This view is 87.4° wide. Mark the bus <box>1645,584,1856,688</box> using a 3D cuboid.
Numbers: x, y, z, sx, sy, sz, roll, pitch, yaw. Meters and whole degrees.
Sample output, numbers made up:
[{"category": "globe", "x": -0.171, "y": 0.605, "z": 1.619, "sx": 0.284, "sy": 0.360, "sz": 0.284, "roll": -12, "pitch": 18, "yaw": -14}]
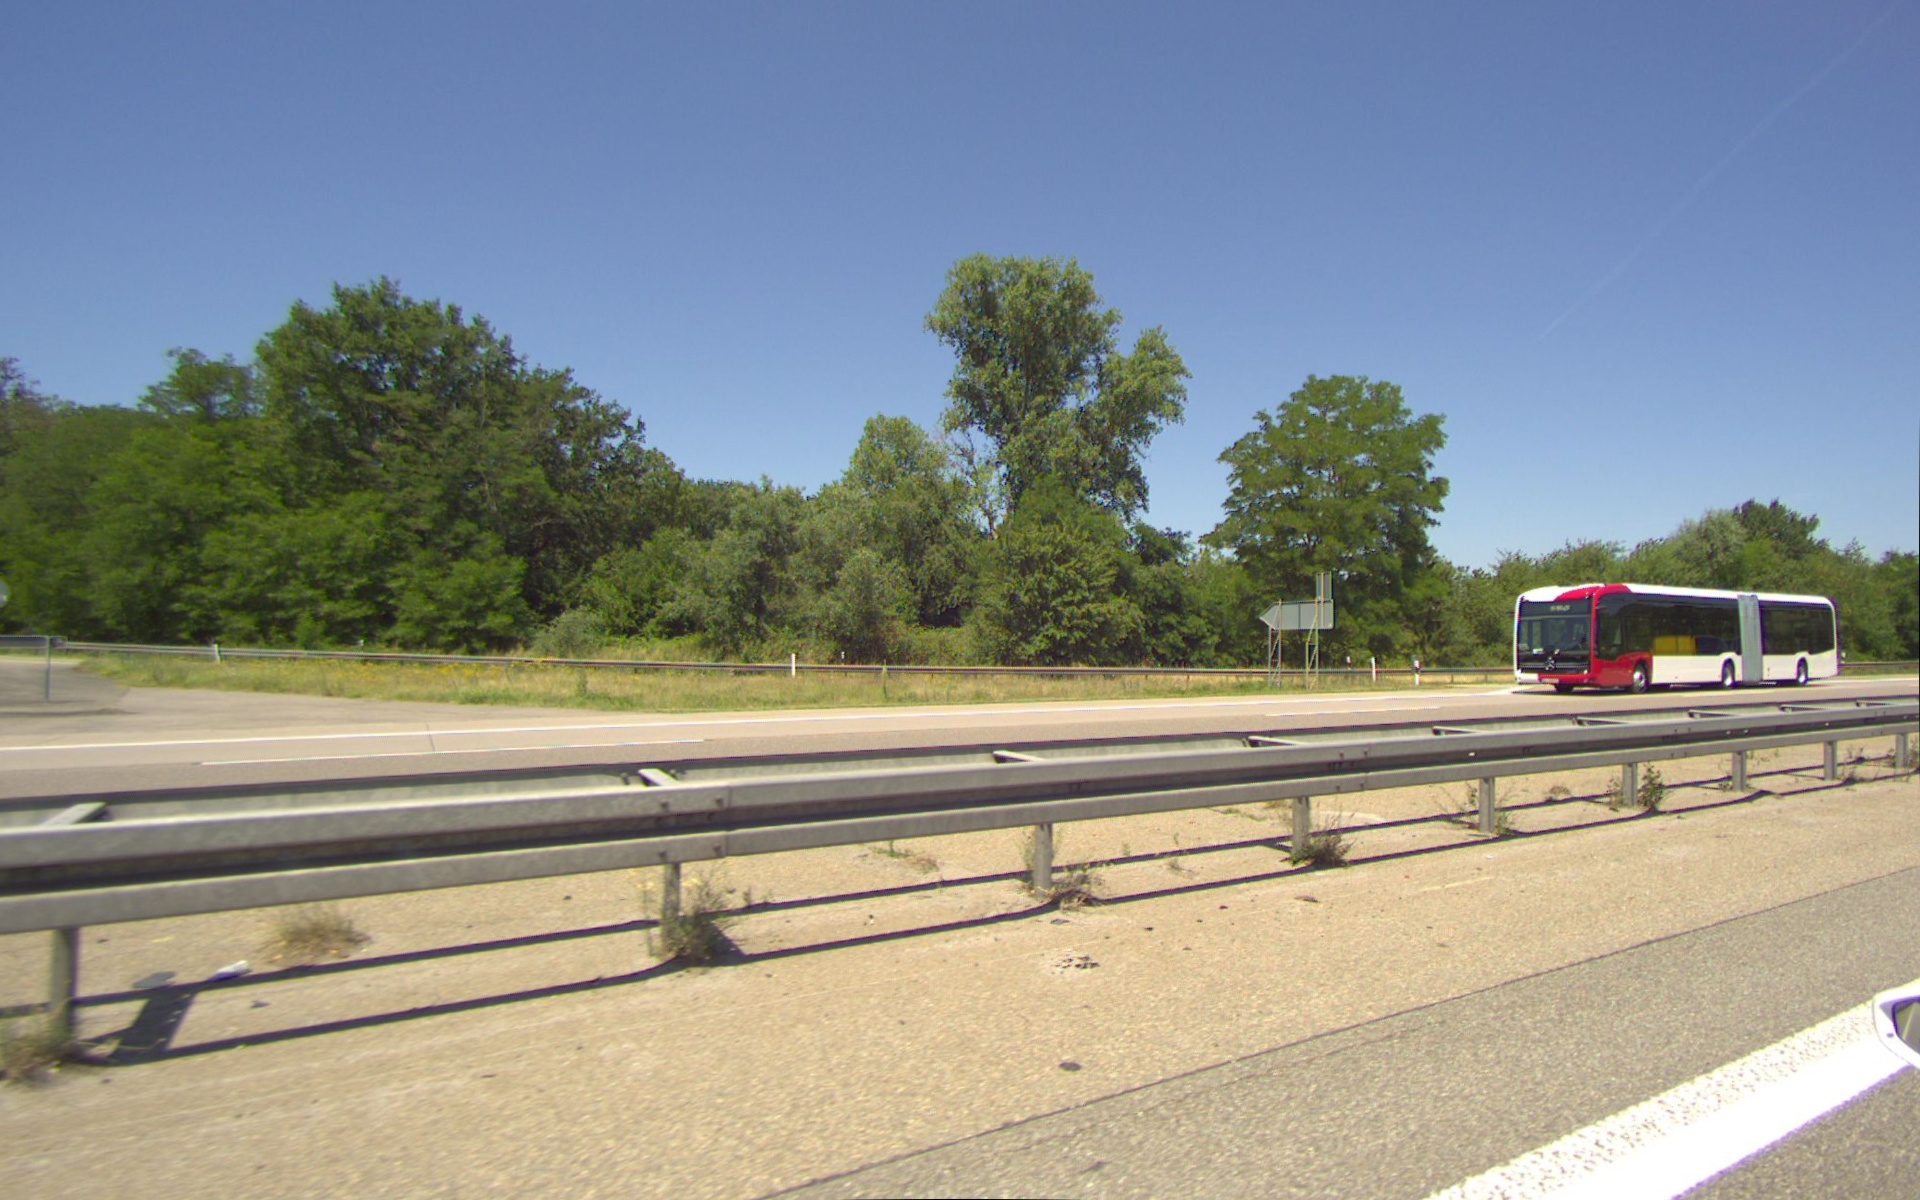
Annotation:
[{"category": "bus", "x": 29.722, "y": 1.368, "z": 37.578, "sx": 10.027, "sy": 3.492, "sz": 2.751, "roll": 2, "pitch": -2, "yaw": -31}]

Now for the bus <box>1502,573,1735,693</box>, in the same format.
[{"category": "bus", "x": 21.580, "y": 1.113, "z": 32.750, "sx": 8.827, "sy": 3.492, "sz": 2.751, "roll": 2, "pitch": -2, "yaw": -30}]
